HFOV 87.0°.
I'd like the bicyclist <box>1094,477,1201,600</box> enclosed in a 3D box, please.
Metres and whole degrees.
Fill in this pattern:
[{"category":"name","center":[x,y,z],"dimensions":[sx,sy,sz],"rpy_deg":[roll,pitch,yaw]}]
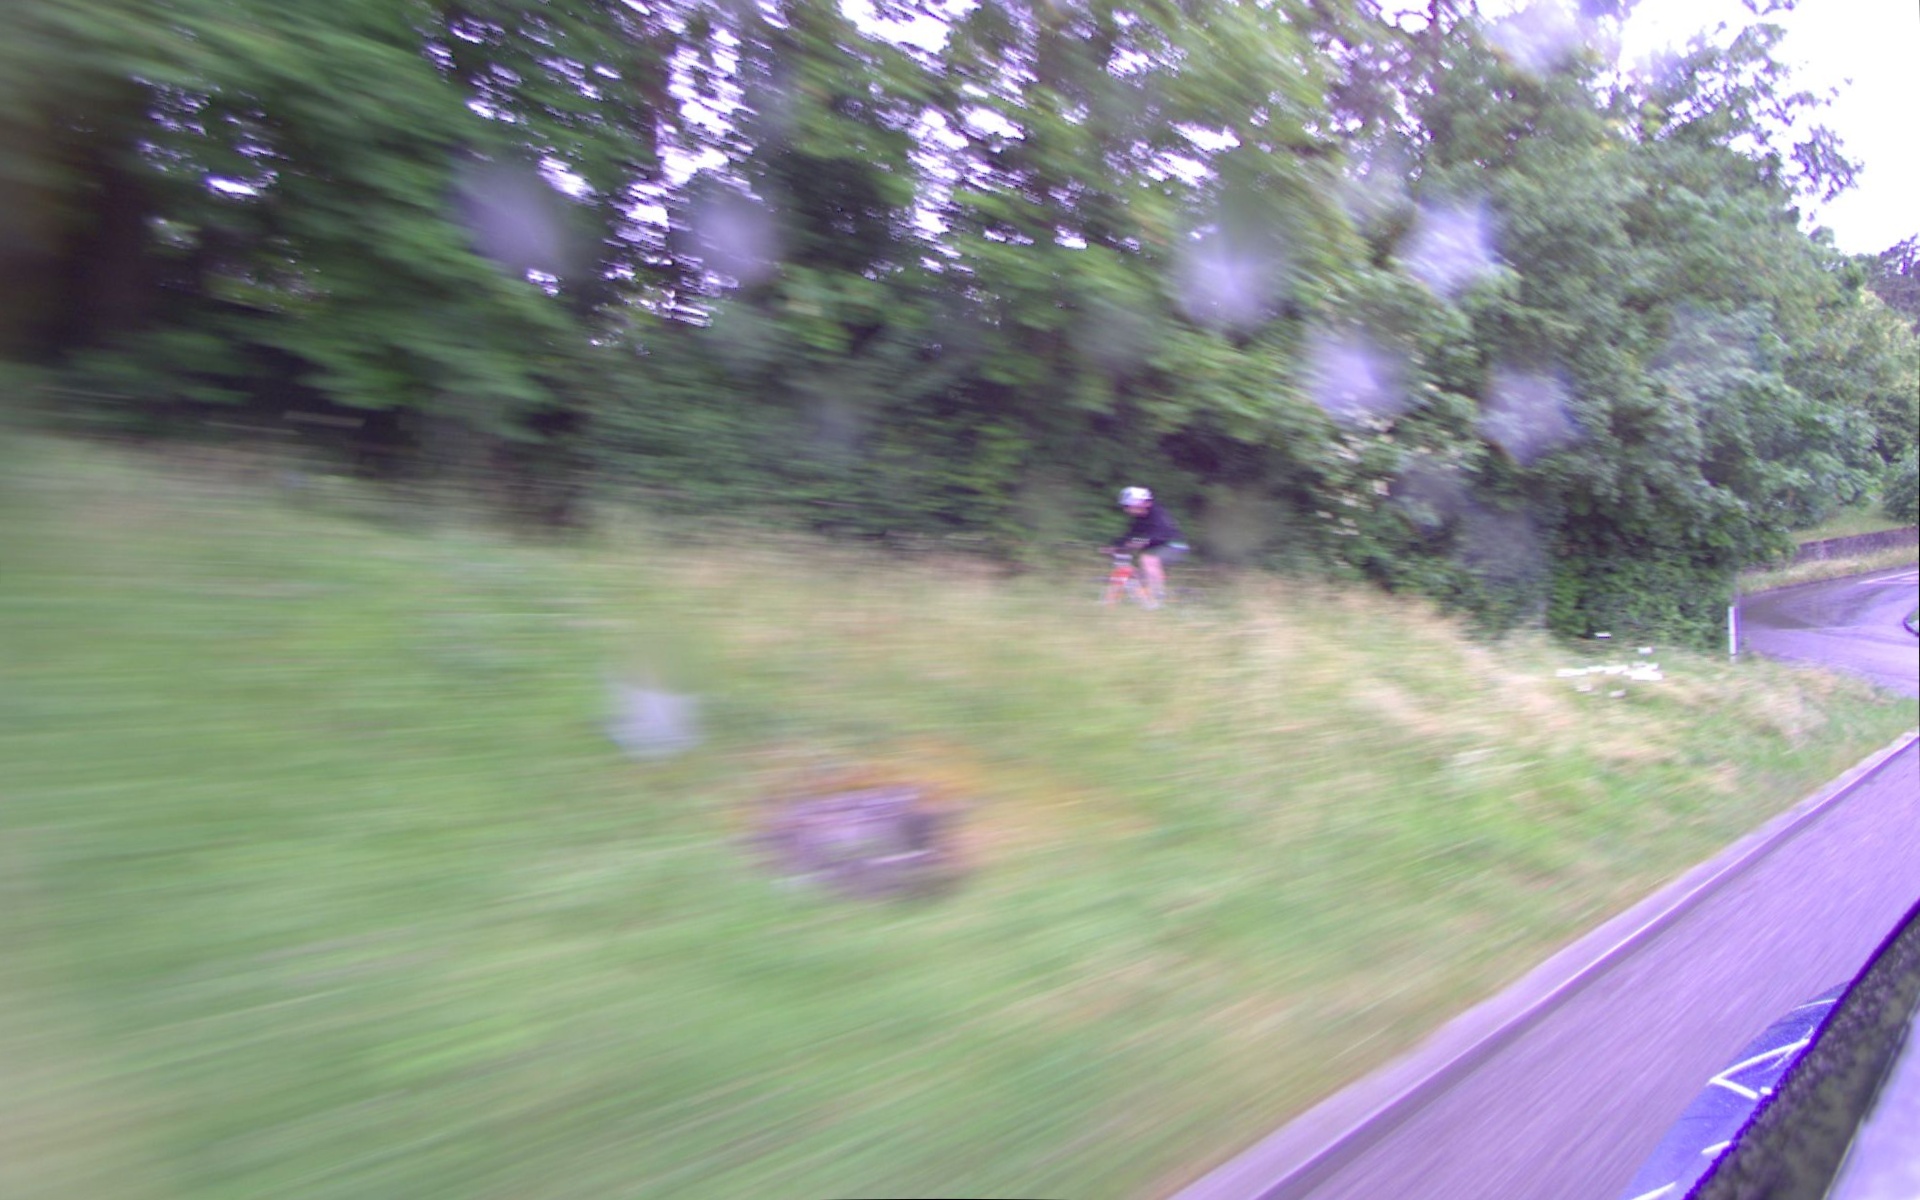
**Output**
[{"category":"bicyclist","center":[1.978,-0.624,10.724],"dimensions":[0.795,1.242,0.791],"rpy_deg":[0,0,-26]}]

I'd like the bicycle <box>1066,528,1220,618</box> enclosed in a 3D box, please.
[{"category":"bicycle","center":[1.951,-0.282,10.695],"dimensions":[1.662,0.901,0.437],"rpy_deg":[0,0,-26]}]
